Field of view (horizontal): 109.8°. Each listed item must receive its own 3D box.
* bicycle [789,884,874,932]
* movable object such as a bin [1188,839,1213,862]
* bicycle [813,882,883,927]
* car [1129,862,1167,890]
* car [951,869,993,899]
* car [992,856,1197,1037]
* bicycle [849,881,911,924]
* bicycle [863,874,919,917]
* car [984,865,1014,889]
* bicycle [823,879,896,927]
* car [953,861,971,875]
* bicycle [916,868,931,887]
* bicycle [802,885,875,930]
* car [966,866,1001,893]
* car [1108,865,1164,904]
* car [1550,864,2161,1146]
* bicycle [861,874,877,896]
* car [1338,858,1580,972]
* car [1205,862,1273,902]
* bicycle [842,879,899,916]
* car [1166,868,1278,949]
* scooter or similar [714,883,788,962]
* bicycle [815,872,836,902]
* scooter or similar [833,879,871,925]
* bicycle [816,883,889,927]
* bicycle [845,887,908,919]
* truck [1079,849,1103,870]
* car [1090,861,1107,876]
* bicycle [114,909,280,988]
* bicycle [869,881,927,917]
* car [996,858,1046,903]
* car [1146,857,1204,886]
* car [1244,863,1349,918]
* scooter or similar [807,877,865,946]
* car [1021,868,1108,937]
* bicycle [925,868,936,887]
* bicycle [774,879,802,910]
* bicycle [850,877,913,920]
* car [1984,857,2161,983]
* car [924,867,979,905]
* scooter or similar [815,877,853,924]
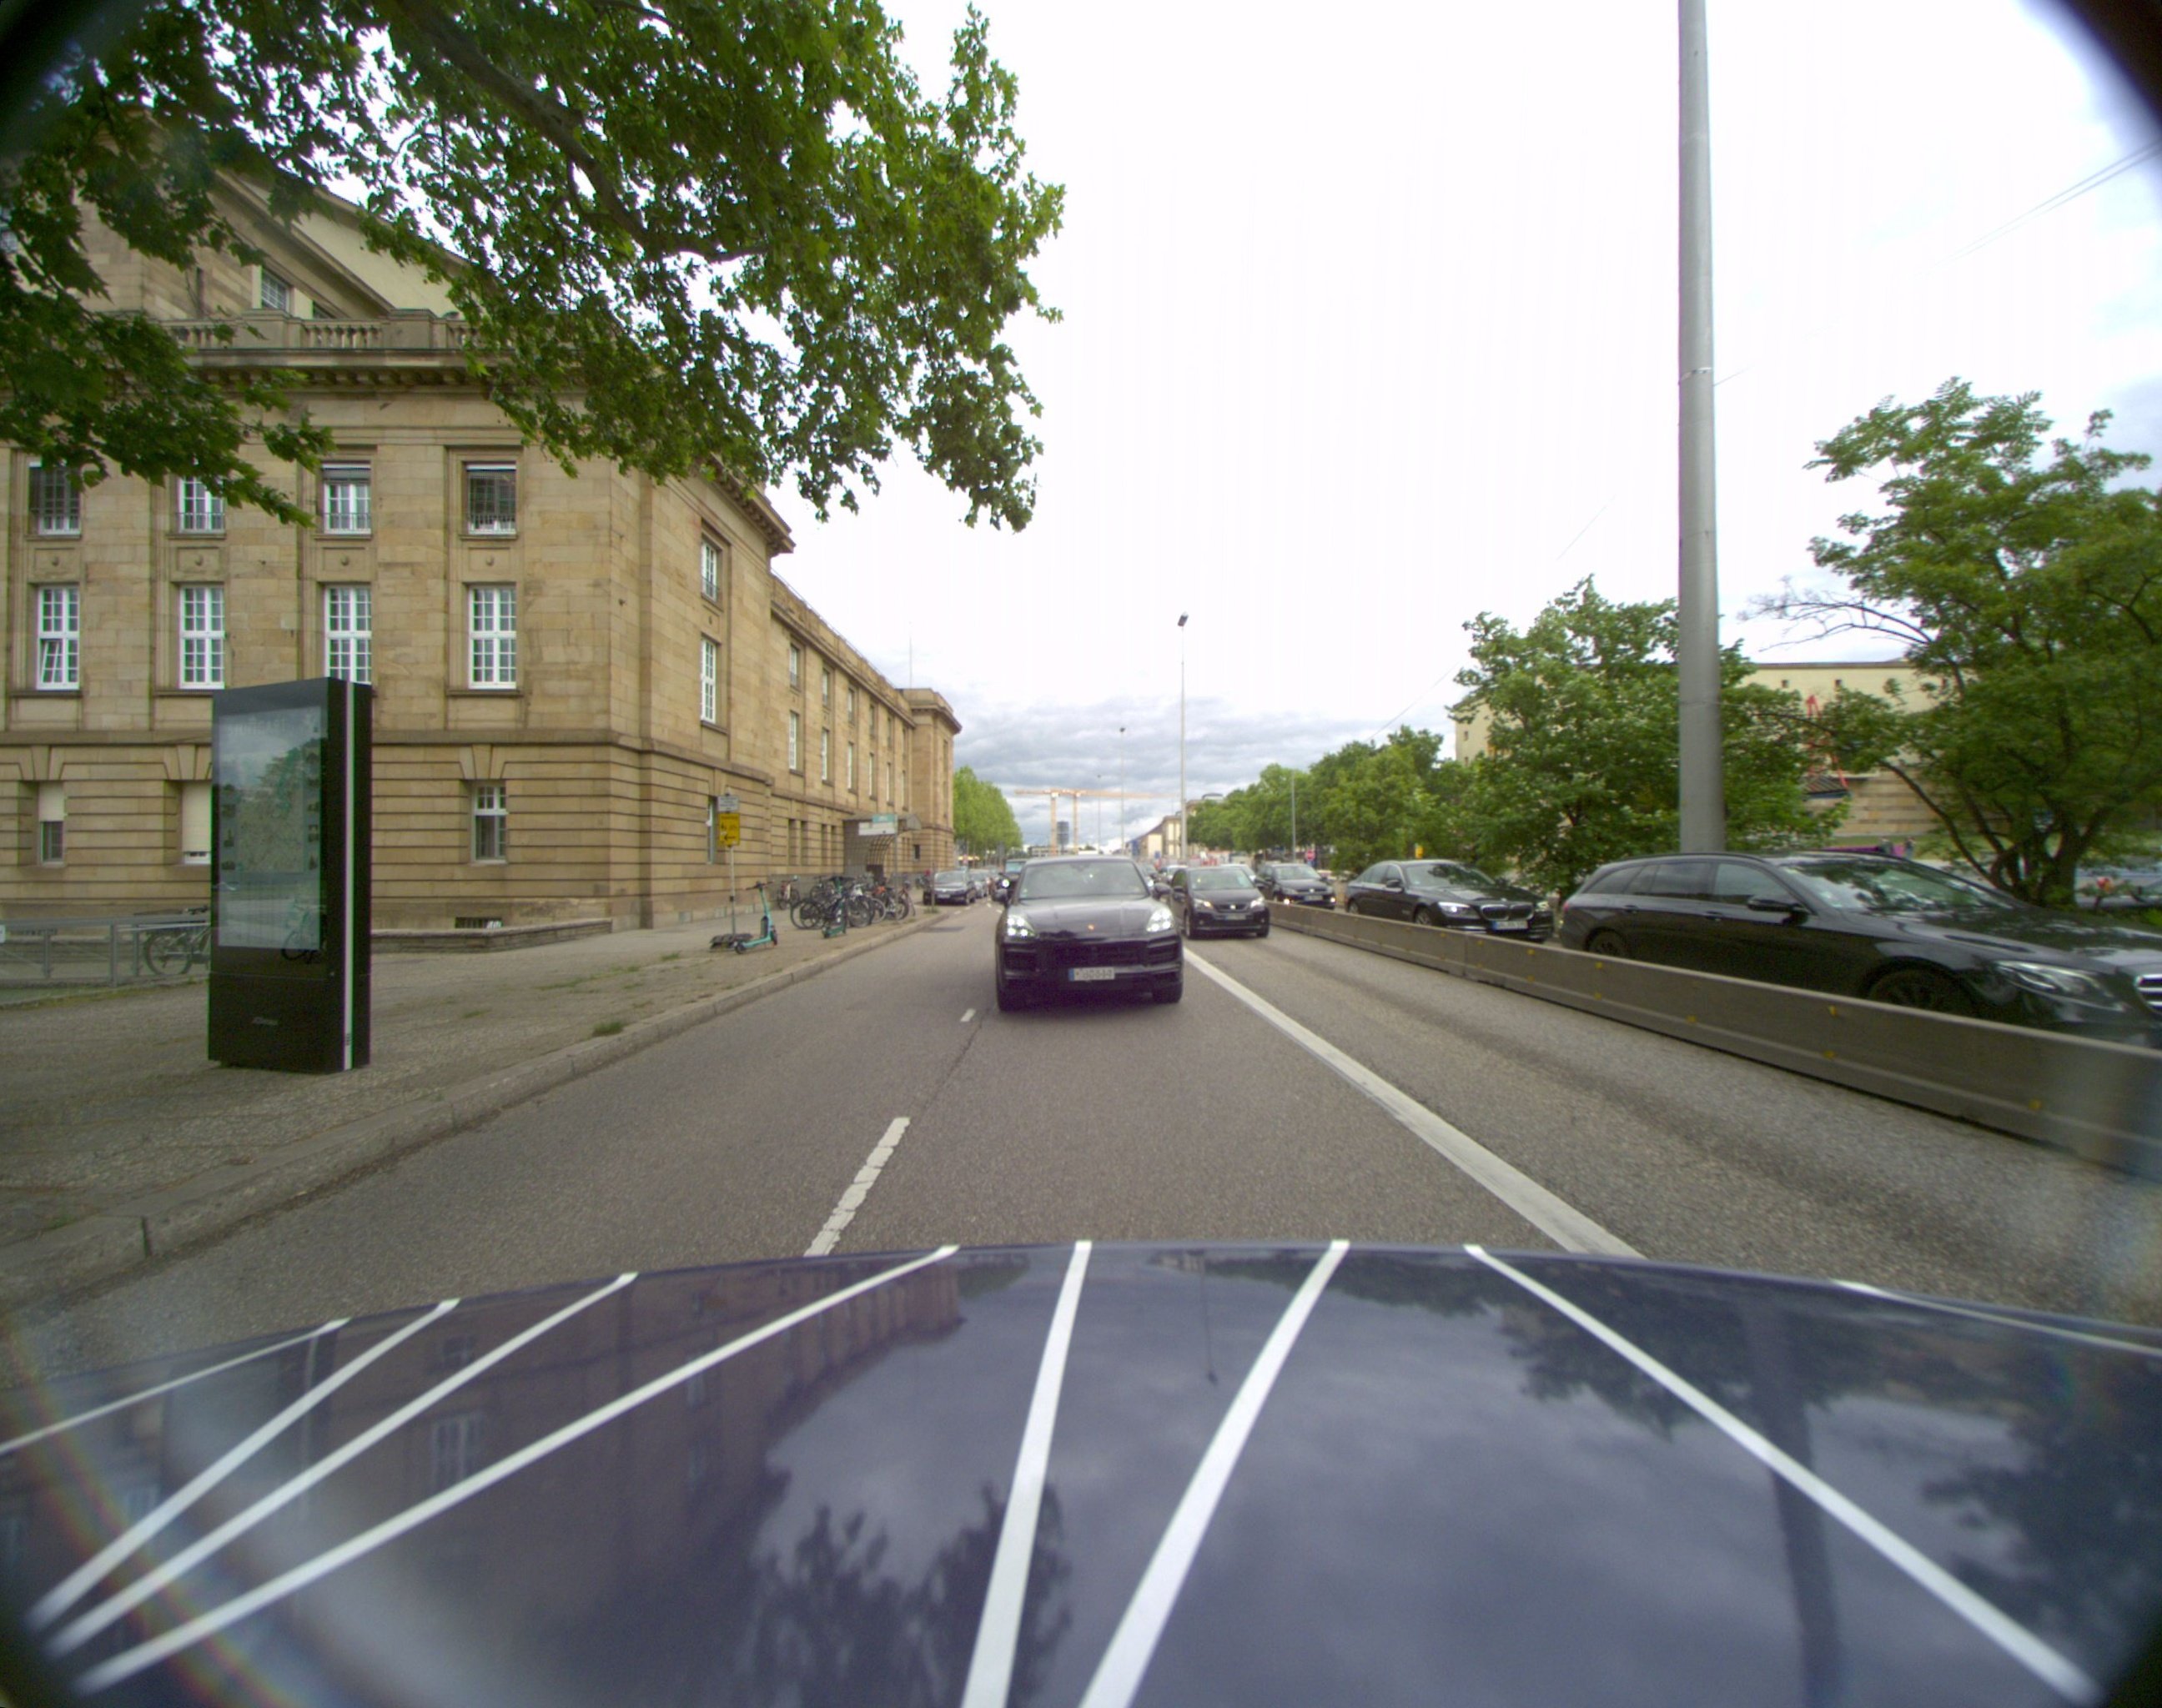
[{"bbox_3d":[-6.111,1.321,18.619,1.860,1.085,0.666,-2,0,13],"label":"bicycle"},{"bbox_3d":[11.294,-0.298,71.940,1.526,2.172,3.292,-1,0,-5],"label":"movable object such as a bin"},{"bbox_3d":[-5.994,1.301,19.547,1.731,1.085,0.381,-2,0,13],"label":"bicycle"},{"bbox_3d":[4.277,1.384,49.149,1.781,1.611,4.044,-1,0,-5],"label":"car"},{"bbox_3d":[-5.694,1.550,40.200,1.713,1.417,3.996,0,0,-1],"label":"car"},{"bbox_3d":[-0.046,0.880,9.195,1.908,1.648,4.199,-1,-1,-5],"label":"car"},{"bbox_3d":[-5.686,1.363,21.543,1.616,1.123,0.469,-2,0,-26],"label":"bicycle"},{"bbox_3d":[-5.750,1.252,22.967,1.544,1.249,0.544,-2,0,19],"label":"bicycle"},{"bbox_3d":[-5.439,1.491,50.732,1.549,1.543,3.709,0,-1,1],"label":"car"},{"bbox_3d":[-5.922,1.311,20.385,1.762,1.202,0.604,-2,0,-3],"label":"bicycle"},{"bbox_3d":[-13.838,1.599,88.338,1.584,1.521,3.503,-1,0,-2],"label":"car"},{"bbox_3d":[-10.405,1.533,50.180,0.557,1.209,1.916,0,0,0],"label":"bicycle"},{"bbox_3d":[-6.106,1.344,19.145,1.731,1.085,0.426,-2,0,13],"label":"bicycle"},{"bbox_3d":[-5.774,1.495,45.516,1.620,1.446,3.858,1,0,-1],"label":"car"},{"bbox_3d":[2.280,1.249,32.382,1.691,1.496,3.998,-1,0,-6],"label":"car"},{"bbox_3d":[6.395,0.857,6.526,1.821,1.490,4.769,-1,0,0],"label":"car"},{"bbox_3d":[-10.477,1.502,37.553,0.222,1.023,1.859,-2,0,0],"label":"bicycle"},{"bbox_3d":[6.398,0.913,13.651,1.928,1.626,4.937,-1,0,1],"label":"car"},{"bbox_3d":[6.494,1.100,31.552,1.677,1.498,3.852,-1,0,-5],"label":"car"},{"bbox_3d":[-6.212,1.282,22.393,1.565,1.022,0.436,-2,0,11],"label":"bicycle"},{"bbox_3d":[2.868,1.063,16.143,1.612,1.464,3.622,-1,0,-1],"label":"car"},{"bbox_3d":[-5.834,1.188,13.503,0.432,1.273,1.435,-2,0,11],"label":"scooter or similar"},{"bbox_3d":[-10.433,1.330,31.053,0.276,1.176,1.538,-2,0,2],"label":"bicycle"},{"bbox_3d":[-6.534,1.352,21.728,0.426,1.217,1.313,-2,0,10],"label":"scooter or similar"},{"bbox_3d":[-6.003,1.340,19.983,1.731,1.085,0.575,-2,0,9],"label":"bicycle"},{"bbox_3d":[-6.068,1.446,22.516,1.730,0.911,0.614,-1,0,19],"label":"bicycle"},{"bbox_3d":[1.264,0.736,99.829,2.978,2.757,7.255,0,0,-1],"label":"truck"},{"bbox_3d":[2.060,1.710,91.677,1.843,1.750,4.479,0,0,-2],"label":"car"},{"bbox_3d":[-13.302,1.414,11.454,2.016,1.119,0.389,-1,0,0],"label":"bicycle"},{"bbox_3d":[-5.619,1.376,23.372,1.664,1.068,0.586,-1,0,19],"label":"bicycle"},{"bbox_3d":[-2.670,1.147,34.786,1.952,1.914,4.399,-1,0,0],"label":"car"},{"bbox_3d":[5.087,0.918,41.781,1.884,1.472,4.700,-1,0,-10],"label":"car"},{"bbox_3d":[6.360,1.021,22.905,1.664,1.445,4.196,-1,0,-4],"label":"car"},{"bbox_3d":[-5.108,1.176,15.930,0.727,1.323,1.413,-2,0,-1],"label":"scooter or similar"},{"bbox_3d":[-0.418,1.121,19.005,1.930,1.501,4.000,-1,-1,-2],"label":"car"},{"bbox_3d":[-10.236,1.584,51.763,0.413,1.280,1.790,0,0,0],"label":"bicycle"},{"bbox_3d":[-10.389,1.412,26.987,0.241,0.992,1.963,-1,0,0],"label":"bicycle"},{"bbox_3d":[-5.619,1.249,21.413,1.616,1.123,0.407,-2,0,-26],"label":"bicycle"},{"bbox_3d":[17.097,0.967,10.952,2.199,1.864,5.111,-1,-1,3],"label":"car"},{"bbox_3d":[-5.520,1.329,32.923,1.793,1.477,4.325,-1,0,-2],"label":"car"},{"bbox_3d":[-7.027,1.310,21.643,0.563,1.271,1.149,-2,0,6],"label":"scooter or similar"}]
